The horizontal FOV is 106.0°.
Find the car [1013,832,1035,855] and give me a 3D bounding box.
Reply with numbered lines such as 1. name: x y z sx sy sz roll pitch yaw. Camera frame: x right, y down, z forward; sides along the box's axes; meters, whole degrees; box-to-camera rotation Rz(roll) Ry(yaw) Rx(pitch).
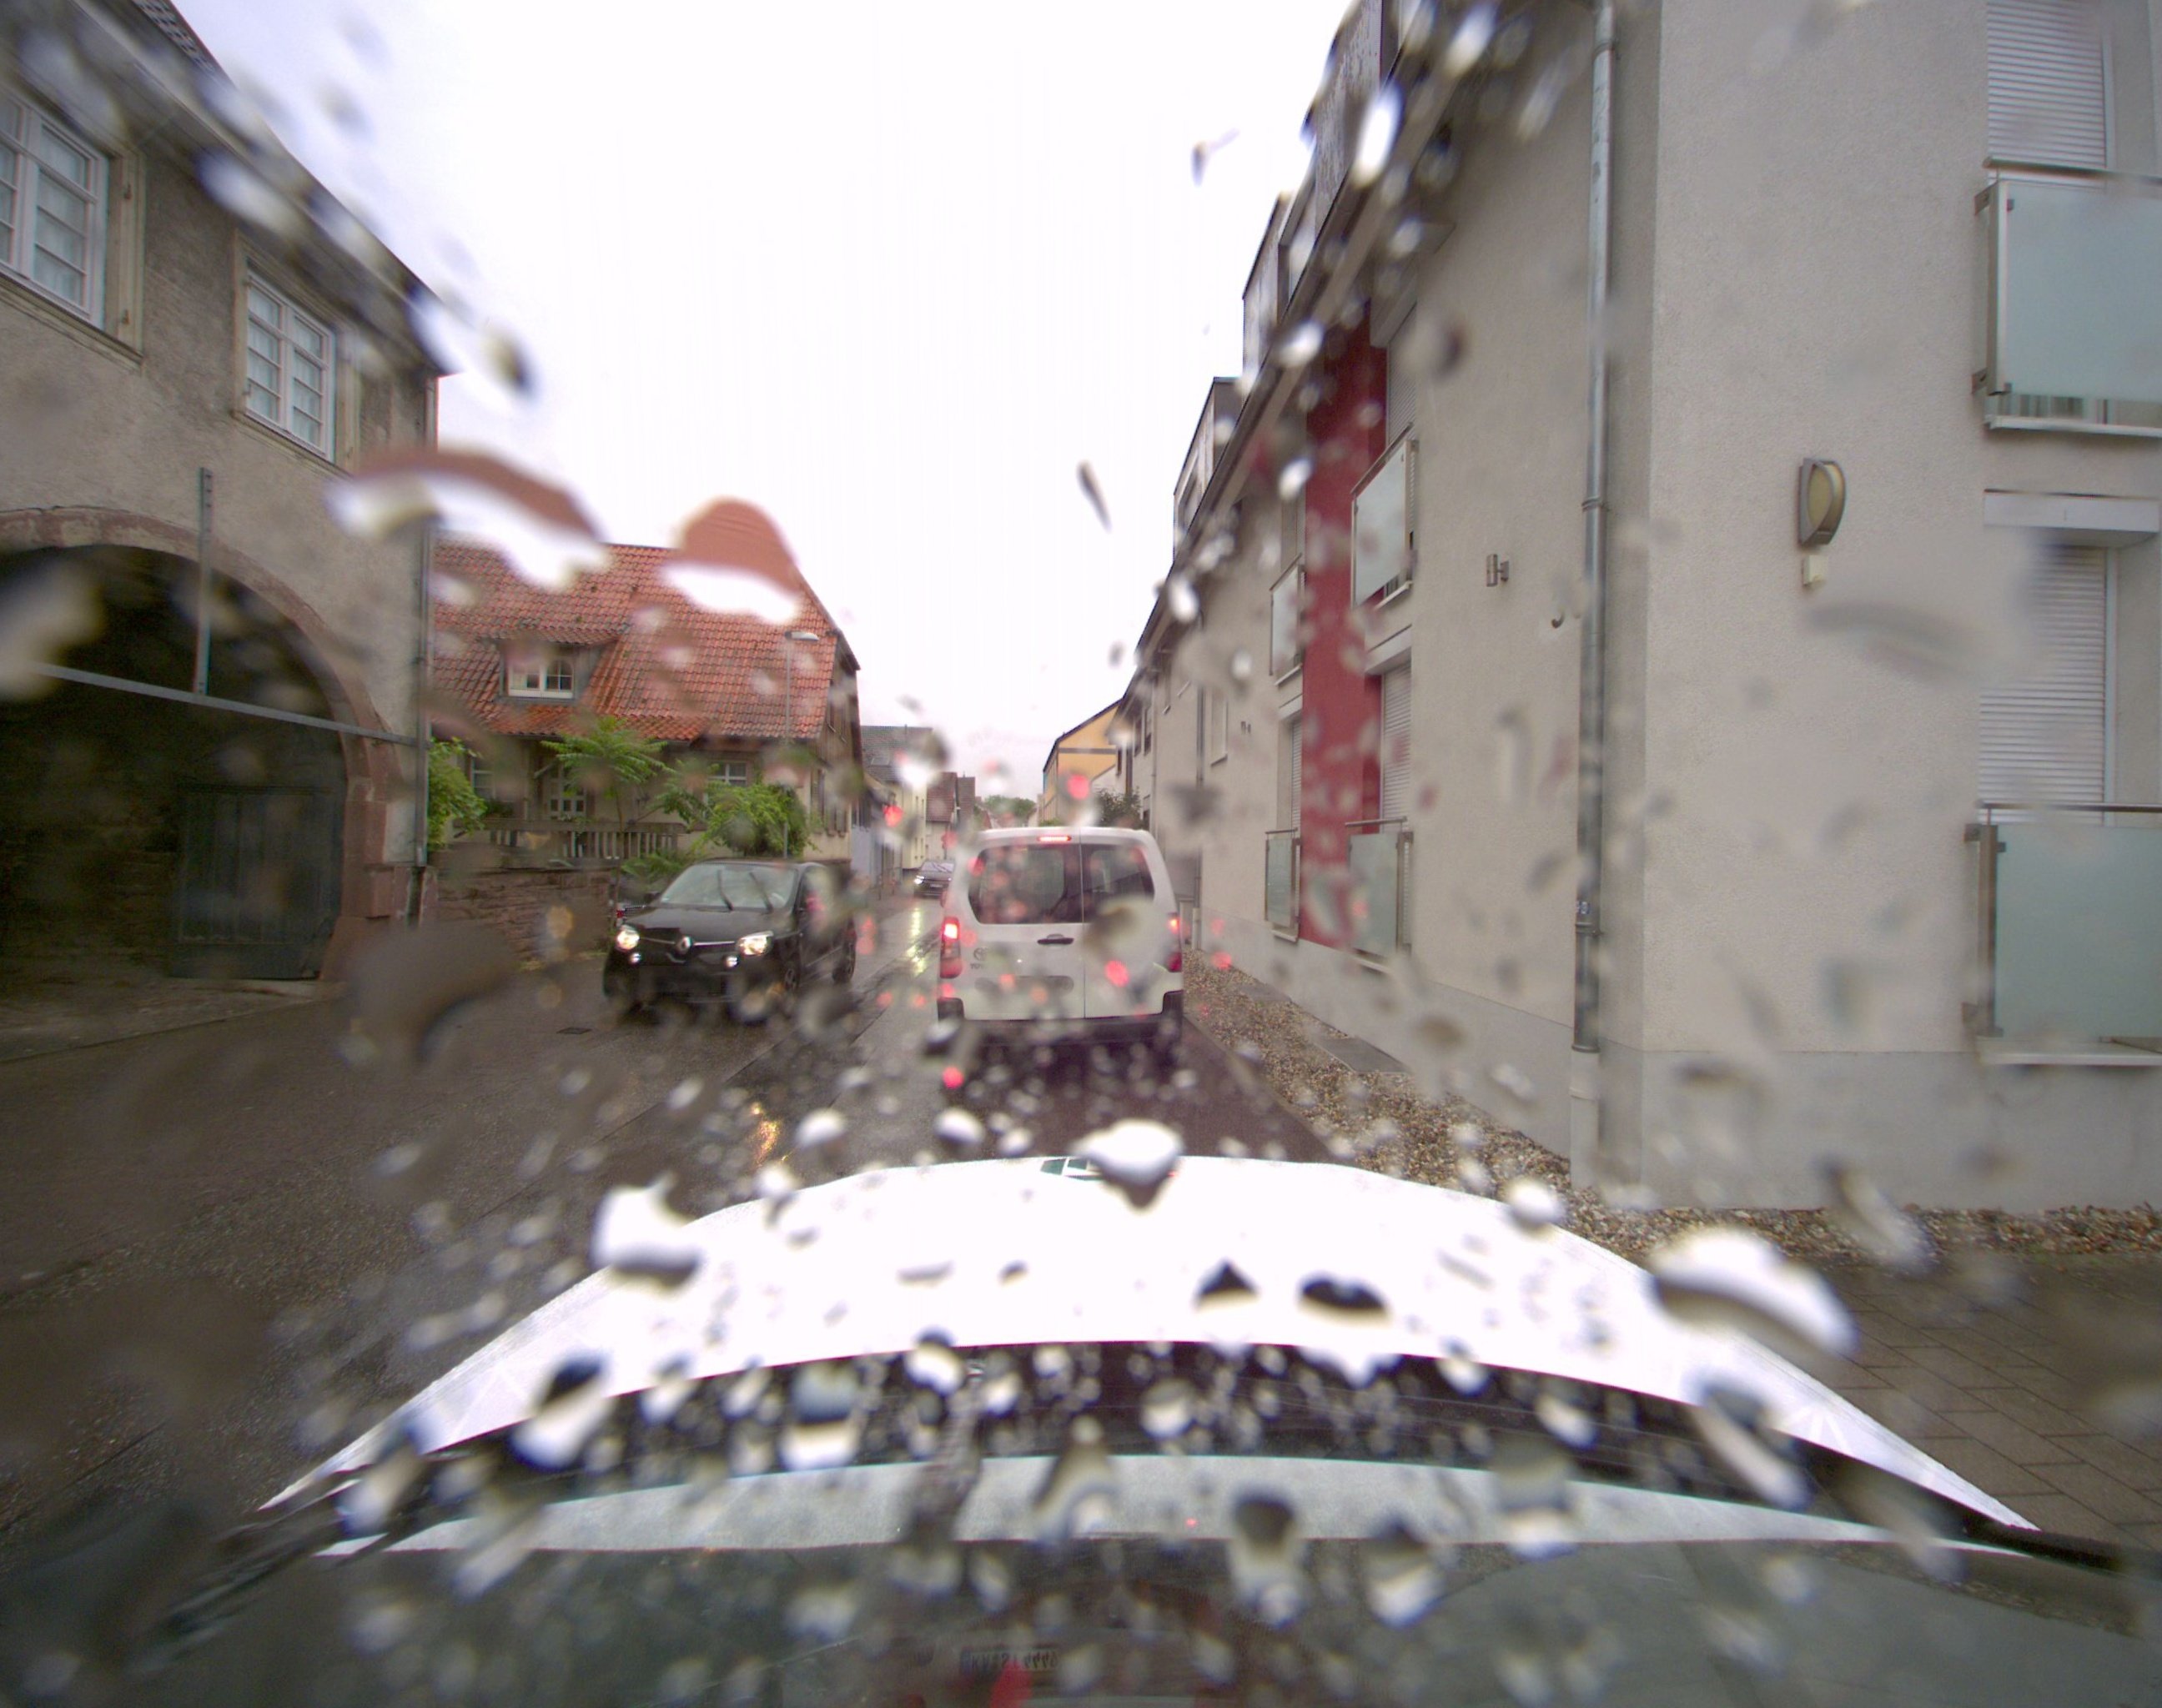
1. car: -5.329 -0.953 76.620 1.989 2.014 3.995 0 -1 -3

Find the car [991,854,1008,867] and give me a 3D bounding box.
1. car: -9.491 0.738 94.506 1.778 1.395 3.989 0 -1 -7

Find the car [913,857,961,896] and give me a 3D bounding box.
1. car: -6.115 0.926 34.966 1.831 1.556 4.228 1 -1 -7

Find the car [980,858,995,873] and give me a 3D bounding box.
1. car: -9.602 1.174 83.448 1.559 1.477 3.989 0 -1 -7

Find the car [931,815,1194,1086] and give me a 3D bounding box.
1. car: -0.329 0.646 7.465 1.773 1.780 3.991 0 -1 -7

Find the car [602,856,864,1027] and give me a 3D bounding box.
1. car: -3.598 0.798 9.140 1.602 1.513 3.681 1 0 -5

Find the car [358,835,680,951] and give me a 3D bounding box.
1. car: -9.117 0.607 13.445 3.973 1.425 1.736 5 -1 1

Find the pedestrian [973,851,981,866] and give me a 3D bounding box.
1. pedestrian: -13.374 0.559 104.593 1.049 1.893 0.875 0 -1 -7
